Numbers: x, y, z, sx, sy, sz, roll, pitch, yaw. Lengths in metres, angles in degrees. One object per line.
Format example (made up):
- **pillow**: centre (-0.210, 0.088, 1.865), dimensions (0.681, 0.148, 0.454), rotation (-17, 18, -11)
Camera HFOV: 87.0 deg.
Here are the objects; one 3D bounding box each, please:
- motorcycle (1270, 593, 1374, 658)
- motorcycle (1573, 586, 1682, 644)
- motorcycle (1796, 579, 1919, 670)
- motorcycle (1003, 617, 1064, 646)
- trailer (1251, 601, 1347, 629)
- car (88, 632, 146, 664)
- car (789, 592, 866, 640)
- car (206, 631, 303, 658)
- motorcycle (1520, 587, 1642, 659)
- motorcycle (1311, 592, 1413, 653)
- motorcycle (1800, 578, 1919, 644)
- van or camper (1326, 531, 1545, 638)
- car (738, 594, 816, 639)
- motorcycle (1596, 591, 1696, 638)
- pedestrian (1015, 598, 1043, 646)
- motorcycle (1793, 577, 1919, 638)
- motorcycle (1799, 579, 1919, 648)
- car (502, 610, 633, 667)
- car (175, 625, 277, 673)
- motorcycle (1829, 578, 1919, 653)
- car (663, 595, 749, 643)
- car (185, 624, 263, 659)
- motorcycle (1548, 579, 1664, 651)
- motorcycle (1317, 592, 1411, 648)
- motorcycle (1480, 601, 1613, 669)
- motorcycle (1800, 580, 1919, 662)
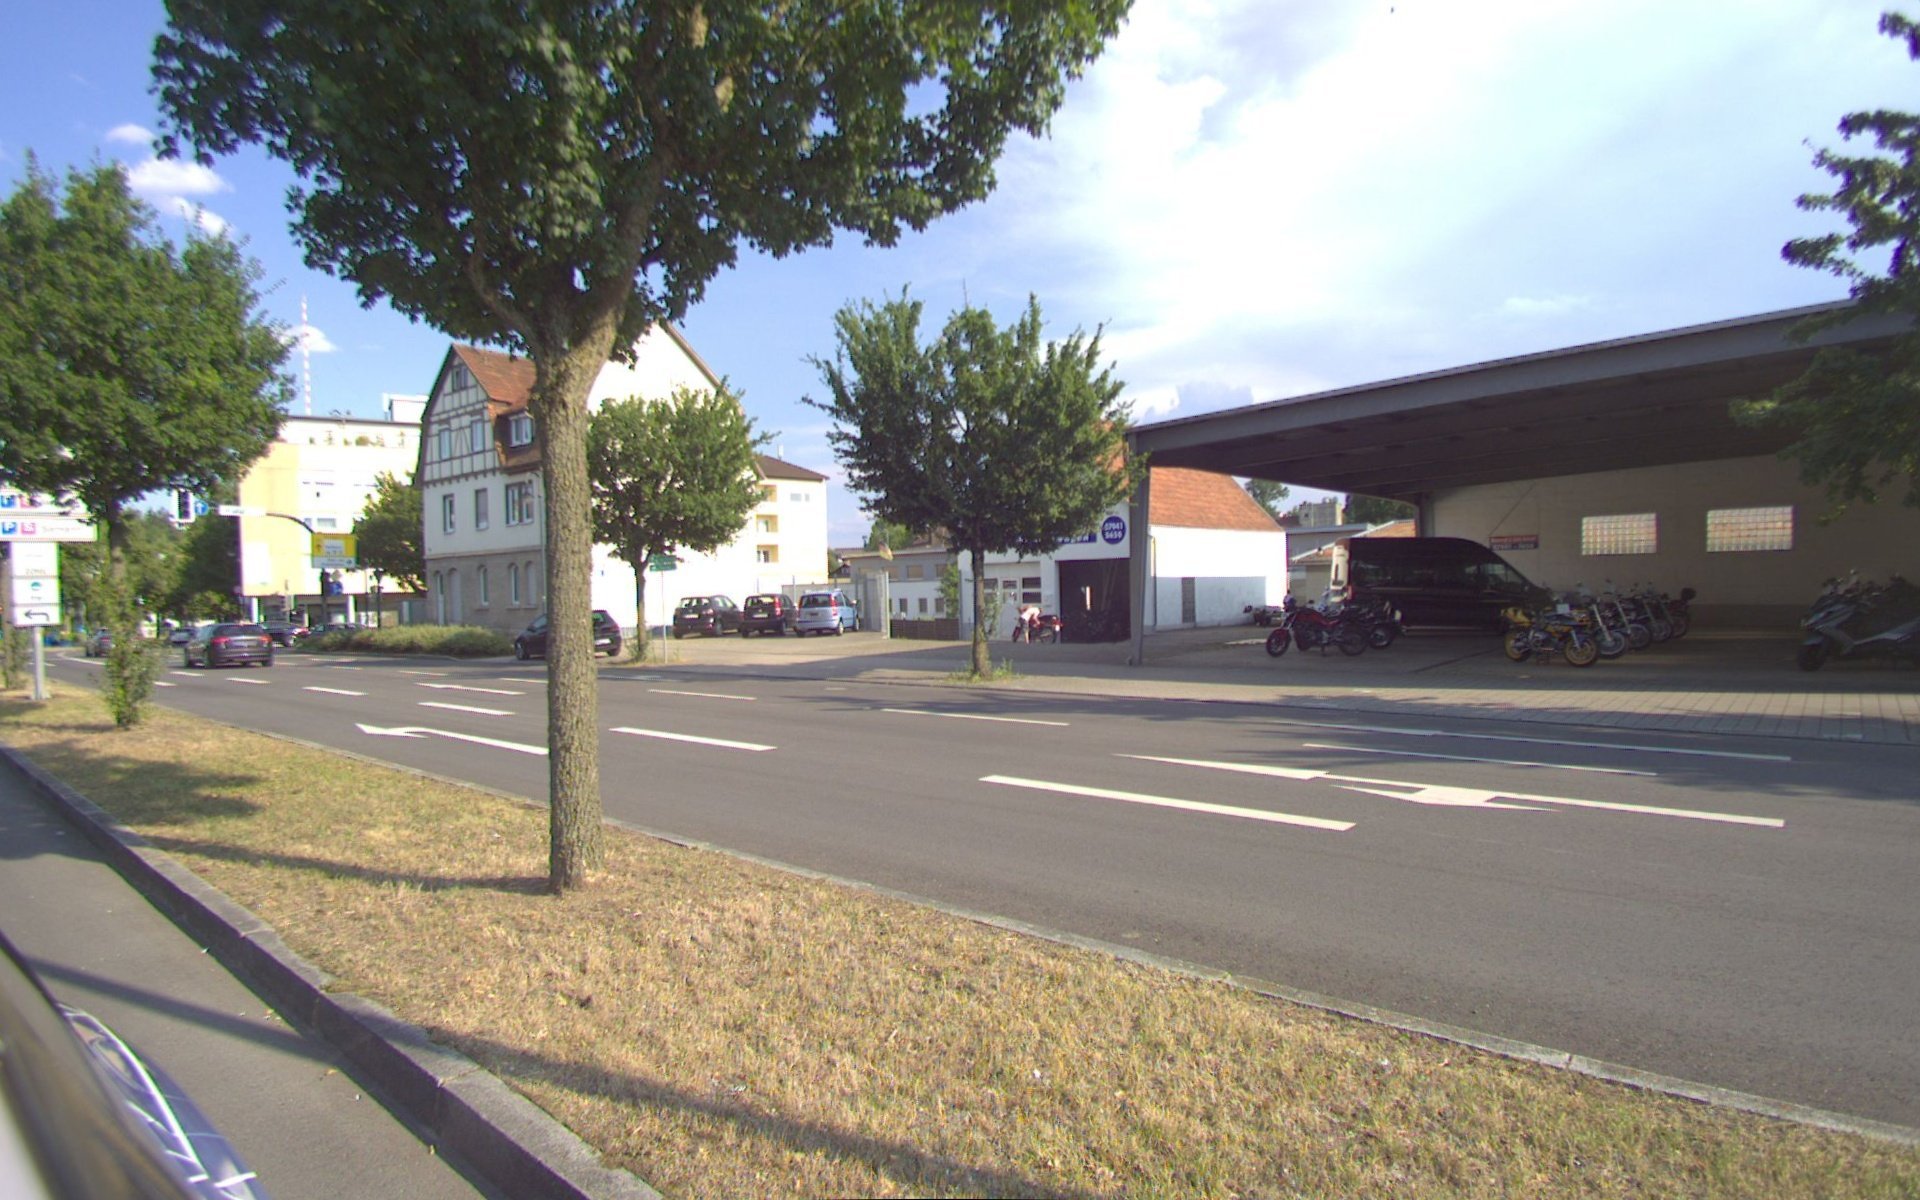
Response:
- **motorcycle**: centre (7.553, 0.539, 21.187), dimensions (1.991, 1.321, 0.665), rotation (-1, 0, 18)
- **motorcycle**: centre (15.437, 0.340, 23.480), dimensions (0.636, 1.268, 2.161), rotation (-1, 0, -19)
- **motorcycle**: centre (13.885, 0.360, 15.130), dimensions (2.093, 1.317, 0.561), rotation (-1, 0, 12)
- **motorcycle**: centre (2.405, 1.018, 33.358), dimensions (2.212, 0.927, 0.500), rotation (-1, 0, 45)
- **trailer**: centre (12.513, 0.526, 37.254), dimensions (2.449, 0.831, 3.152), rotation (-1, 2, 38)
- **car**: centre (-39.308, 2.194, 47.150), dimensions (1.759, 1.359, 4.482), rotation (-1, 0, -44)
- **car**: centre (-4.605, 0.532, 35.734), dimensions (1.746, 1.564, 3.992), rotation (-1, 0, 7)
- **car**: centre (-41.970, 2.626, 60.265), dimensions (4.594, 1.364, 1.770), rotation (-1, 0, -41)
- **motorcycle**: centre (12.114, 0.436, 19.843), dimensions (0.553, 1.340, 2.161), rotation (-1, 0, -19)
- **motorcycle**: centre (9.022, 0.494, 22.771), dimensions (1.982, 1.321, 0.649), rotation (-1, 0, 5)
- **motorcycle**: centre (18.957, 0.230, 21.172), dimensions (2.068, 1.317, 0.561), rotation (-1, 0, 12)
- **van or camper**: centre (12.819, -0.384, 27.609), dimensions (4.980, 2.700, 1.995), rotation (-1, 0, 9)
- **car**: centre (-6.681, 0.585, 37.417), dimensions (1.746, 1.564, 3.992), rotation (-1, 0, 7)
- **motorcycle**: centre (17.204, 0.353, 25.436), dimensions (0.553, 1.131, 2.161), rotation (-1, 0, -19)
- **pedestrian**: centre (2.217, 0.706, 32.726), dimensions (0.642, 1.535, 0.676), rotation (-1, 0, -21)
- **motorcycle**: centre (19.911, 0.174, 22.527), dimensions (2.068, 1.317, 0.561), rotation (-1, 0, 12)
- **motorcycle**: centre (17.967, 0.266, 19.994), dimensions (2.068, 1.317, 0.581), rotation (-1, 0, 12)
- **car**: centre (-11.740, 1.106, 30.158), dimensions (4.193, 1.454, 1.816), rotation (-1, 3, 41)
- **car**: centre (-23.180, 1.497, 31.908), dimensions (4.186, 1.397, 1.628), rotation (-1, 0, 40)
- **motorcycle**: centre (17.098, 0.272, 18.257), dimensions (2.068, 1.317, 0.621), rotation (-1, 0, 12)
- **car**: centre (-9.382, 0.655, 37.685), dimensions (1.747, 1.563, 3.992), rotation (-2, 1, 7)
- **car**: centre (-32.773, 1.816, 45.004), dimensions (4.642, 1.432, 1.824), rotation (-1, 0, 41)
- **motorcycle**: centre (13.795, 0.304, 21.695), dimensions (0.584, 1.459, 2.161), rotation (-1, 0, -19)
- **motorcycle**: centre (9.789, 0.485, 24.551), dimensions (1.982, 1.321, 0.649), rotation (-1, 0, 5)
- **motorcycle**: centre (10.441, 0.604, 18.130), dimensions (0.620, 1.132, 2.161), rotation (-1, 0, -19)
- **motorcycle**: centre (15.266, 0.340, 16.737), dimensions (2.068, 1.317, 0.561), rotation (-1, 0, 12)
